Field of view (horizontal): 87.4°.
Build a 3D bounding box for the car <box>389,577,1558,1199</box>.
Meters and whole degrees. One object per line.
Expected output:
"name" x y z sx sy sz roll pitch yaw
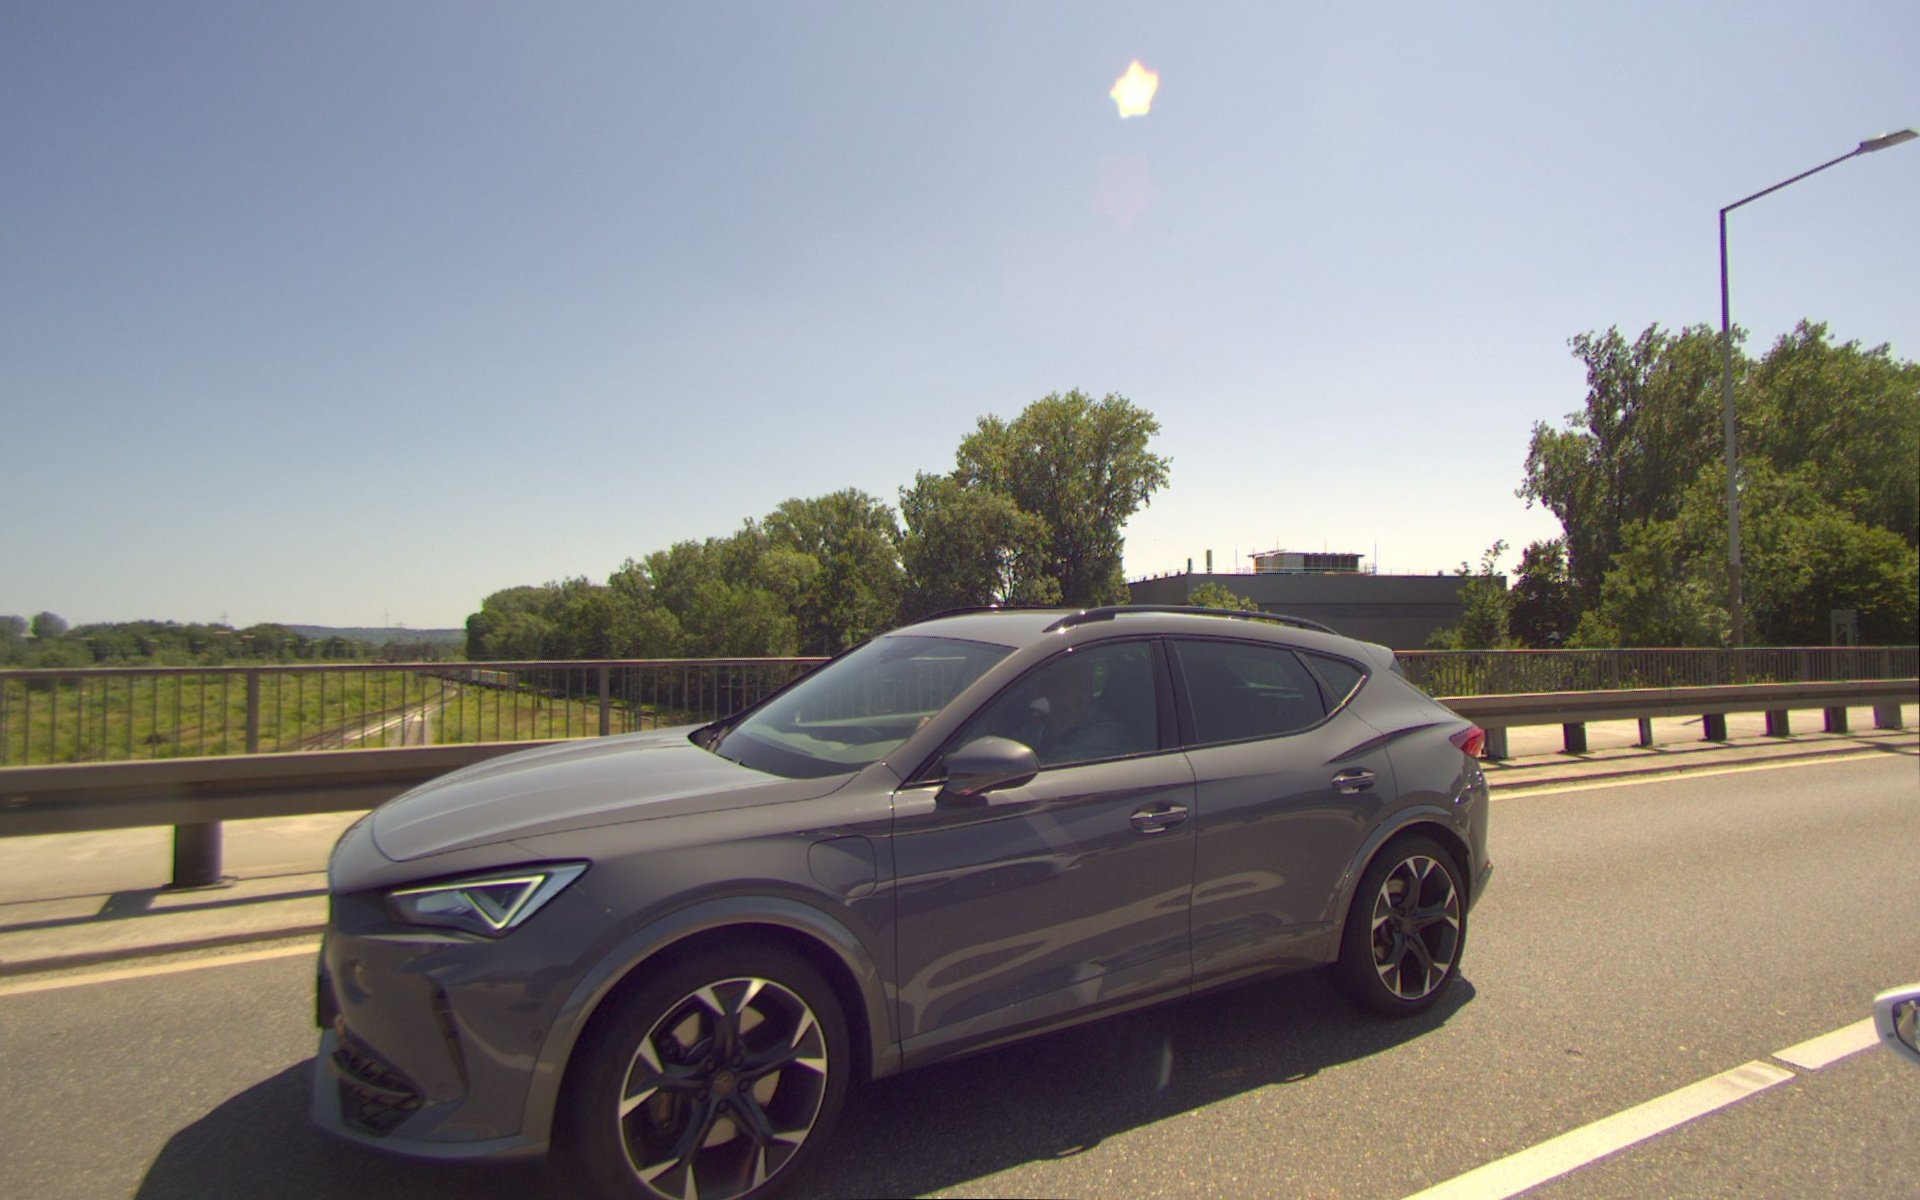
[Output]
"car" 0.225 0.768 3.822 4.145 1.528 1.767 1 -1 -30
